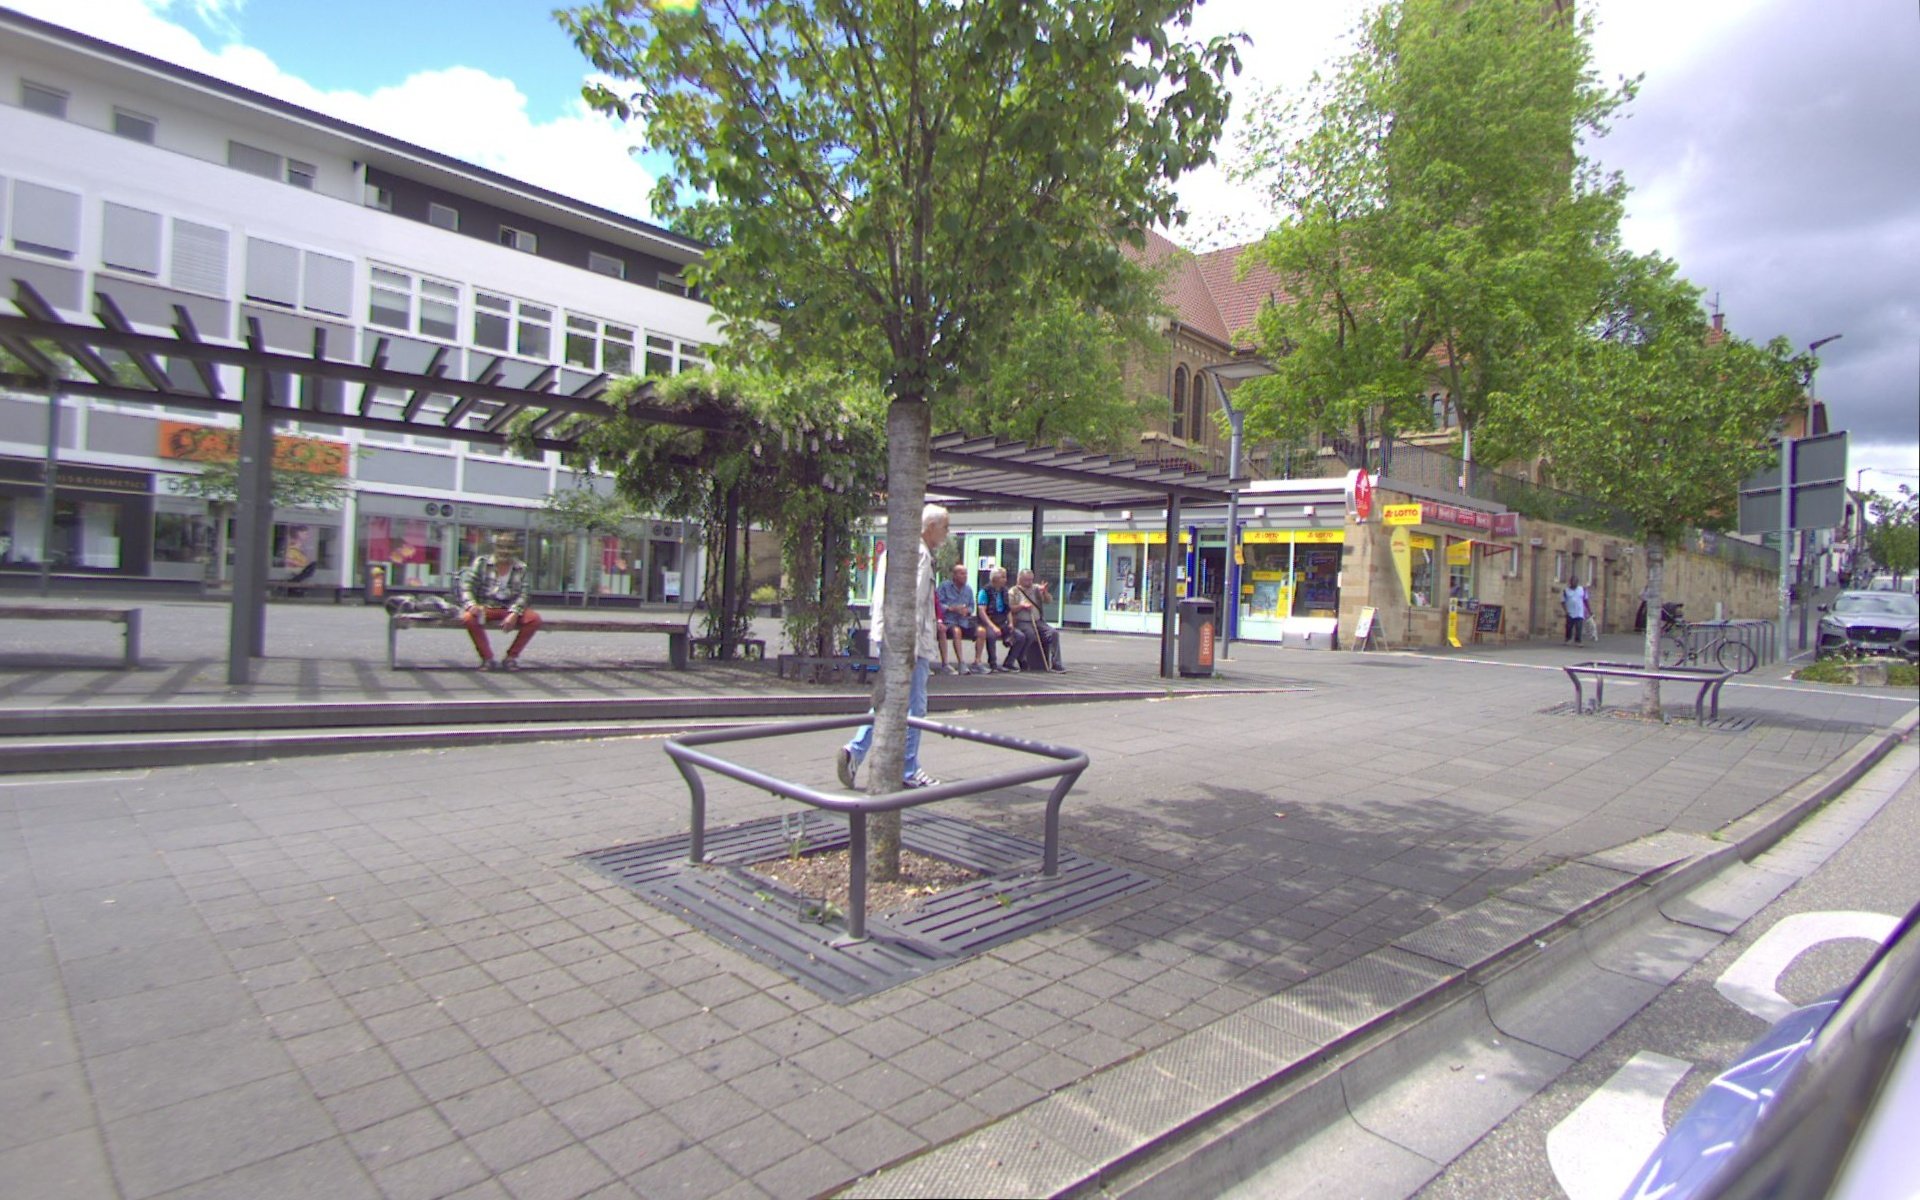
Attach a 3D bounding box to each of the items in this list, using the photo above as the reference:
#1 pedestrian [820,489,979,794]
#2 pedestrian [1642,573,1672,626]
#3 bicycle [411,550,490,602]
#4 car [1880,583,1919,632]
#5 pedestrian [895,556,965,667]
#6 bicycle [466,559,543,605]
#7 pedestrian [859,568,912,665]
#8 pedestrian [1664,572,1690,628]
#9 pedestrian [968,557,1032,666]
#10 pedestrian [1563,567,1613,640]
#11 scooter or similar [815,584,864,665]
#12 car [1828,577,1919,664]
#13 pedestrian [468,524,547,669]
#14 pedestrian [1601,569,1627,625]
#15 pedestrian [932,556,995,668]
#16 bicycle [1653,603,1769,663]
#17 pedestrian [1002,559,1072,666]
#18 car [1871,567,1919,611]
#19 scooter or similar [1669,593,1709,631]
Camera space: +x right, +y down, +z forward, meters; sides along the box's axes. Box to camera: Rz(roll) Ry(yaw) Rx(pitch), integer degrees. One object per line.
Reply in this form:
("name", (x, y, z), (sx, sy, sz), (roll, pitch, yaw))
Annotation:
("pedestrian", (-0.379, 0.225, 6.125), (0.700, 1.703, 0.687), (1, 1, -30))
("pedestrian", (21.013, -0.017, 30.500), (0.574, 1.542, 0.589), (0, 2, -43))
("bicycle", (-13.967, -0.666, 27.746), (1.999, 1.323, 0.684), (3, 1, 17))
("car", (32.649, 0.237, 34.520), (1.754, 1.458, 4.029), (3, 4, 41))
("pedestrian", (-0.359, 0.130, 12.020), (0.531, 1.278, 0.570), (3, -1, -37))
("bicycle", (-12.937, -0.505, 28.722), (2.000, 1.156, 0.684), (4, 2, 17))
("pedestrian", (-0.877, 0.192, 11.872), (0.361, 1.102, 0.477), (3, -1, -37))
("pedestrian", (21.770, 0.003, 30.731), (0.497, 1.666, 0.474), (-1, 3, -35))
("pedestrian", (0.503, 0.140, 12.818), (0.564, 1.337, 0.496), (3, -1, -38))
("pedestrian", (15.479, 0.081, 24.968), (0.748, 1.751, 0.598), (2, 2, 1))
("scooter or similar", (-1.401, 0.284, 11.721), (0.497, 0.905, 0.249), (3, -1, -10))
("car", (20.930, 0.389, 22.763), (1.928, 1.745, 4.503), (3, 3, 42))
("pedestrian", (-4.324, -0.039, 9.654), (0.536, 1.324, 0.626), (1, 1, -37))
("pedestrian", (19.810, -0.099, 30.655), (0.497, 1.666, 0.474), (-1, 3, -35))
("pedestrian", (0.042, 0.140, 12.467), (0.515, 1.337, 0.500), (3, -1, -36))
("bicycle", (14.308, 0.612, 19.312), (1.725, 1.008, 0.340), (4, 2, 41))
("pedestrian", (1.003, 0.158, 13.161), (0.575, 1.337, 0.617), (3, -1, -38))
("car", (44.462, -0.562, 47.597), (4.945, 1.870, 1.888), (-2, 4, -42))
("scooter or similar", (22.012, 0.351, 30.558), (0.550, 1.085, 0.815), (-1, 3, -34))
